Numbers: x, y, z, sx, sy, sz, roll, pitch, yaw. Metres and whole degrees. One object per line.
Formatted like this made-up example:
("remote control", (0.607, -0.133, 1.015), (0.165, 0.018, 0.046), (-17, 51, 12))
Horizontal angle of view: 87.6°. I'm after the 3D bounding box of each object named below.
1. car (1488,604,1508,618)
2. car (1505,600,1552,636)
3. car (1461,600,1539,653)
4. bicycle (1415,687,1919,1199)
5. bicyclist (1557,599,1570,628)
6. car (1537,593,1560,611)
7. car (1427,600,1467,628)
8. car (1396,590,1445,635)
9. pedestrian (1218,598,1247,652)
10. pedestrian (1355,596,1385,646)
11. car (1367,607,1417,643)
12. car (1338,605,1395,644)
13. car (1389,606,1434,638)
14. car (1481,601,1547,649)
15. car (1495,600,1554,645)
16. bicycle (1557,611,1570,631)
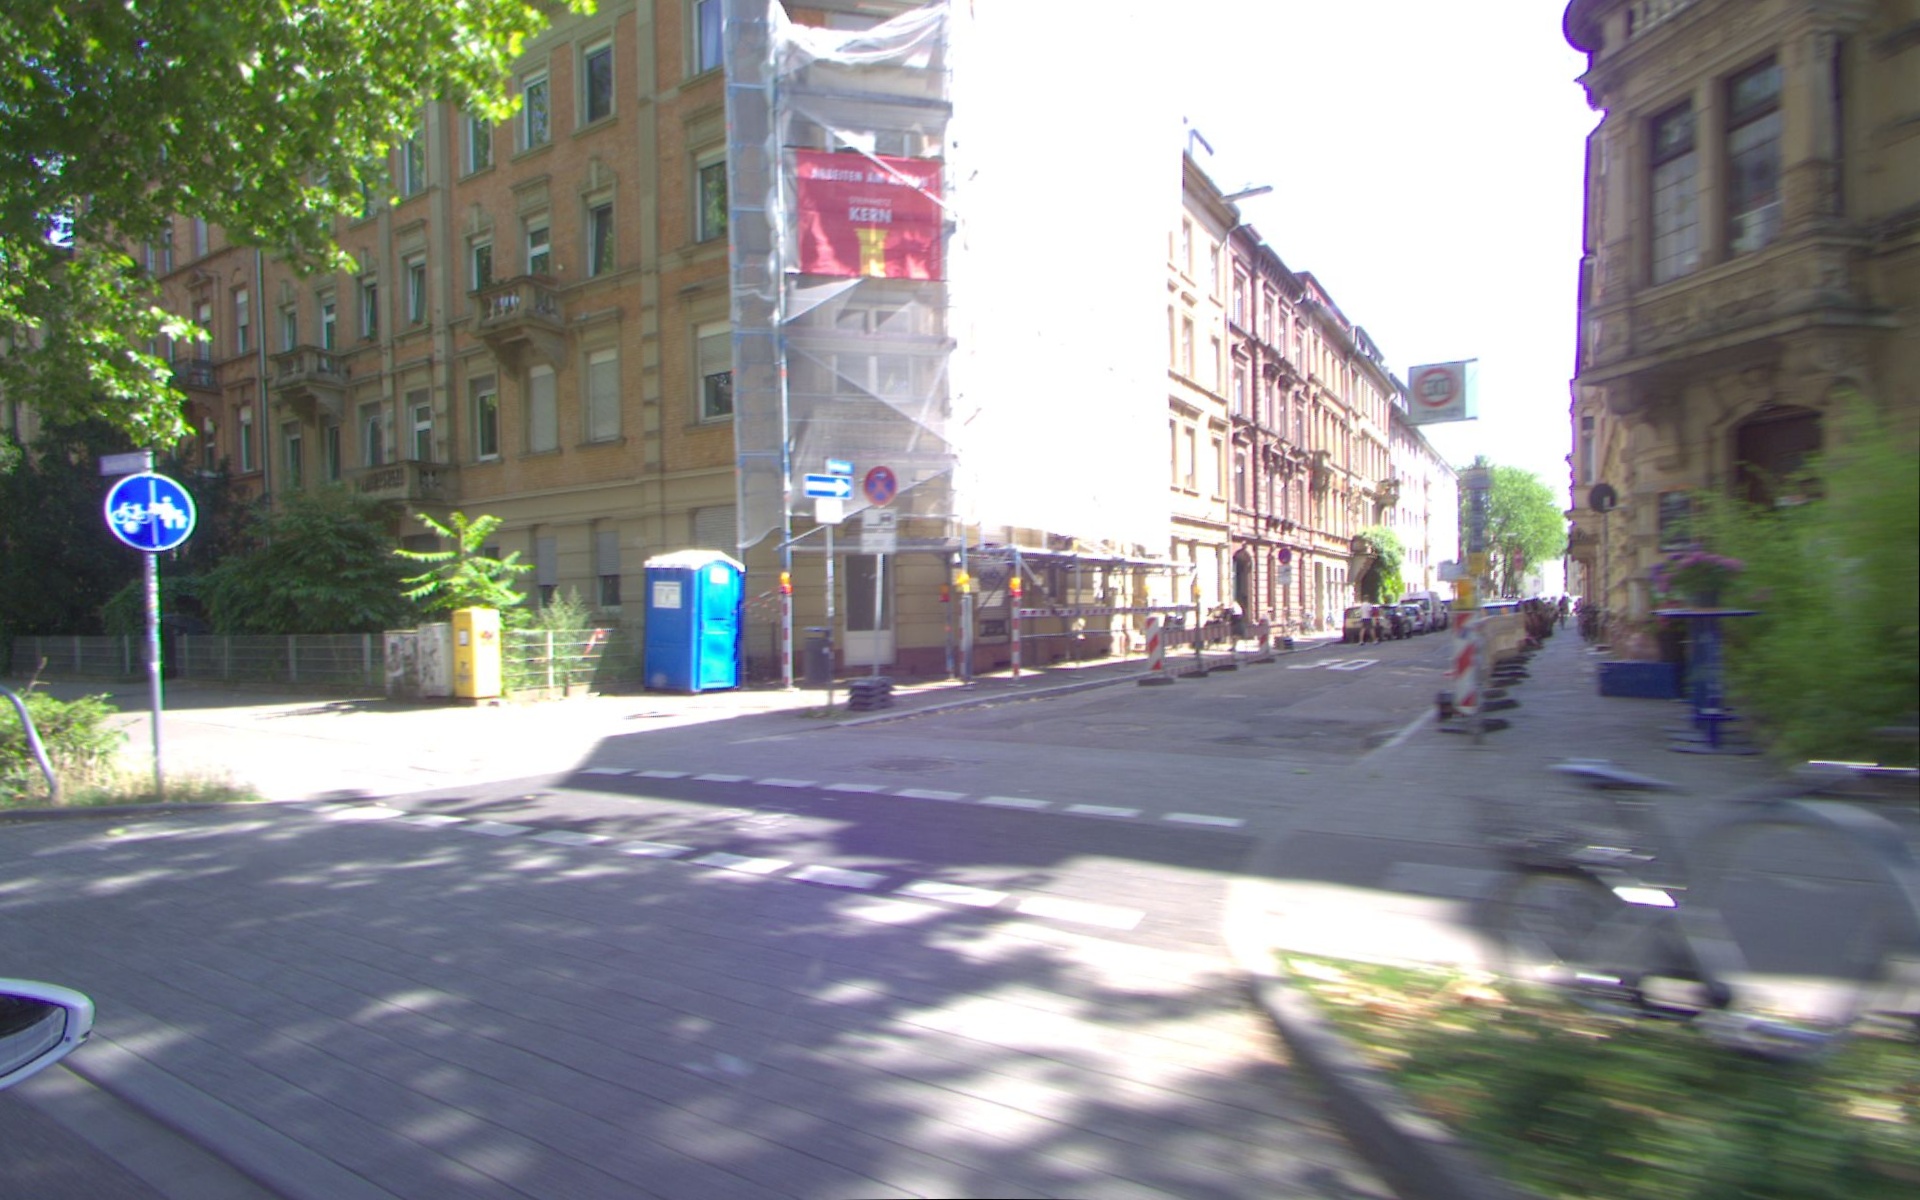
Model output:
("car", (55.579, 1.106, 103.373), (1.647, 1.420, 3.343), (-1, -1, 32))
("car", (29.097, 0.912, 51.164), (1.971, 1.762, 3.980), (-1, 0, 31))
("car", (17.060, 0.800, 31.555), (1.971, 1.572, 3.980), (-1, 0, 31))
("bicycle", (1.878, 0.819, 2.292), (0.416, 1.120, 1.609), (-1, 0, -27))
("bicyclist", (30.566, 0.668, 50.715), (0.525, 1.472, 0.459), (-1, 0, 30))
("car", (60.574, 0.244, 103.003), (1.971, 1.762, 3.980), (-1, 0, 31))
("car", (31.732, 0.875, 65.184), (1.887, 1.732, 4.139), (-1, 0, 33))
("car", (25.586, 0.666, 55.571), (1.887, 2.405, 4.224), (-1, 0, 33))
("pedestrian", (8.935, 0.819, 32.867), (0.843, 1.748, 0.834), (-1, 0, 19))
("pedestrian", (15.328, 0.772, 37.430), (0.922, 1.822, 1.034), (-1, 0, 29))
("car", (19.932, 1.123, 46.116), (1.703, 1.549, 3.478), (-1, -1, 30))
("car", (16.879, 0.994, 41.546), (1.703, 1.549, 3.478), (-1, 0, 30))
("car", (23.103, 1.122, 51.173), (1.703, 1.549, 3.478), (-1, 0, 30))
("car", (20.386, 0.877, 36.779), (1.971, 1.661, 3.980), (-1, 0, 31))
("car", (23.051, 0.888, 40.819), (1.971, 1.762, 3.980), (-1, 0, 31))
("bicycle", (30.550, 1.073, 50.689), (0.530, 0.991, 1.304), (-1, 0, 29))
